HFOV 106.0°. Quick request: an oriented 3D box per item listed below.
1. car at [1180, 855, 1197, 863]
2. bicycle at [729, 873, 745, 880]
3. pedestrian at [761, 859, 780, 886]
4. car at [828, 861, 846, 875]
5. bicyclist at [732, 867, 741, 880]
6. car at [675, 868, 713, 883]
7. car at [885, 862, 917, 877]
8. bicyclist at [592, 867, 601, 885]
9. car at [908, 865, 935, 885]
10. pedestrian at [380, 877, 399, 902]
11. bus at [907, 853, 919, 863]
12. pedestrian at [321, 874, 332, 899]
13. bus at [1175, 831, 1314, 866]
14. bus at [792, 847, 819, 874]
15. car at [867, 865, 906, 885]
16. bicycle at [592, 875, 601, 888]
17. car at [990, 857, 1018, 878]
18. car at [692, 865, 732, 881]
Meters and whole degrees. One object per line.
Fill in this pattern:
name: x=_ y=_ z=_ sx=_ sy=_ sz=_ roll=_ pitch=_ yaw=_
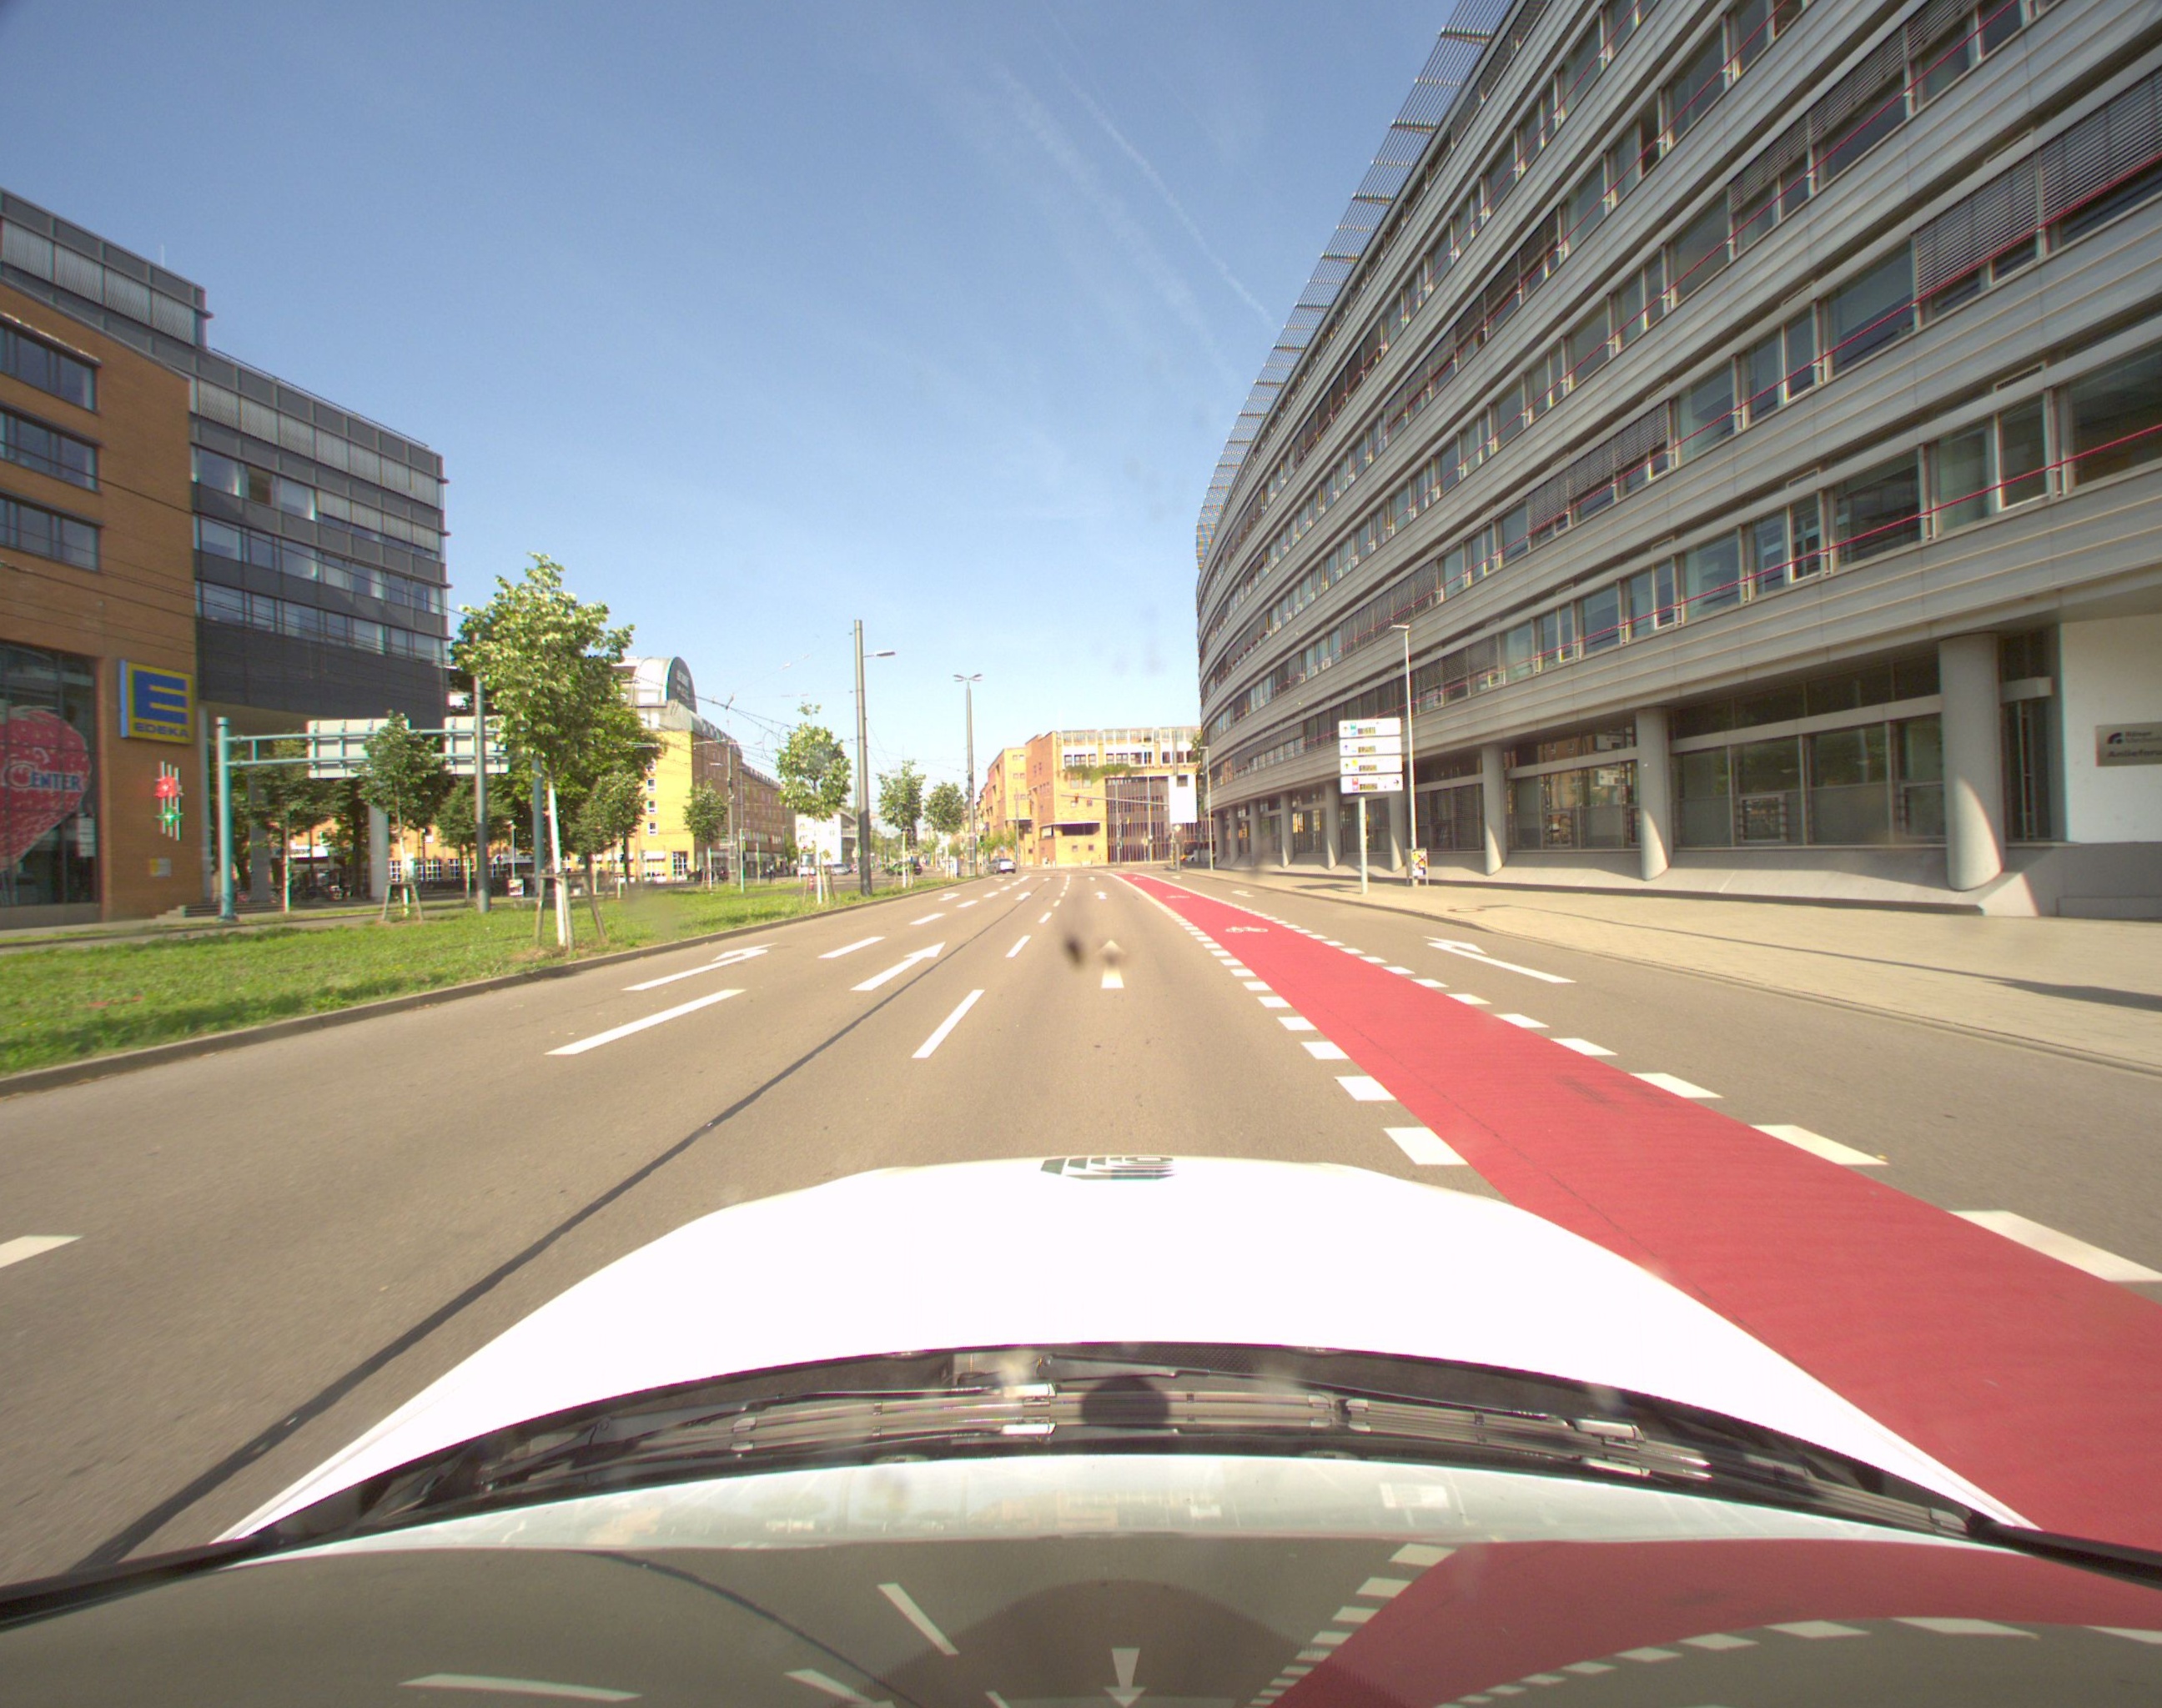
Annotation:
car: x=13.601 y=0.602 z=102.965 sx=1.949 sy=0.958 sz=1.091 roll=0 pitch=-3 yaw=-7
bicycle: x=-46.169 y=3.021 z=109.260 sx=1.964 sy=0.970 sz=0.417 roll=-1 pitch=-2 yaw=-17
pedestrian: x=-24.030 y=1.433 z=63.067 sx=1.154 sy=2.014 sz=0.774 roll=-2 pitch=-2 yaw=-8
car: x=-31.760 y=1.824 z=105.997 sx=1.692 sy=1.634 sz=4.358 roll=-3 pitch=1 yaw=-23
bicyclist: x=-46.217 y=2.659 z=109.259 sx=0.989 sy=1.696 sz=0.667 roll=-1 pitch=-2 yaw=-16
car: x=-46.405 y=2.601 z=97.610 sx=3.593 sy=1.624 sz=1.871 roll=-2 pitch=0 yaw=6
car: x=-20.797 y=1.793 z=94.174 sx=3.402 sy=1.542 sz=1.746 roll=-3 pitch=-2 yaw=36
bicyclist: x=-46.422 y=2.124 z=78.014 sx=0.668 sy=1.747 sz=0.959 roll=-1 pitch=-2 yaw=-26
car: x=-16.931 y=2.202 z=86.597 sx=1.987 sy=2.014 sz=4.241 roll=-2 pitch=-2 yaw=0
pedestrian: x=-45.048 y=2.307 z=53.039 sx=0.612 sy=1.543 sz=0.666 roll=-2 pitch=0 yaw=17
bus: x=-33.341 y=0.786 z=161.839 sx=1.998 sy=2.013 sz=3.977 roll=-2 pitch=0 yaw=-17
pedestrian: x=-62.664 y=2.718 z=67.646 sx=0.489 sy=2.014 sz=0.538 roll=-2 pitch=-2 yaw=-8
bus: x=21.342 y=-0.682 z=106.846 sx=17.559 sy=3.811 sz=2.863 roll=-2 pitch=-2 yaw=-2
bus: x=-43.674 y=1.010 z=129.467 sx=2.750 sy=3.921 sz=12.161 roll=-2 pitch=0 yaw=-13
car: x=-20.539 y=2.233 z=85.976 sx=3.948 sy=2.014 sz=2.012 roll=-3 pitch=-2 yaw=40
bicycle: x=-46.447 y=2.675 z=78.093 sx=0.551 sy=1.206 sz=2.267 roll=-1 pitch=-2 yaw=-27
car: x=-6.974 y=1.199 z=73.251 sx=1.709 sy=1.755 sz=3.867 roll=-1 pitch=-2 yaw=-17
car: x=-42.389 y=2.161 z=93.537 sx=3.951 sy=1.678 sz=2.011 roll=-3 pitch=-2 yaw=24
